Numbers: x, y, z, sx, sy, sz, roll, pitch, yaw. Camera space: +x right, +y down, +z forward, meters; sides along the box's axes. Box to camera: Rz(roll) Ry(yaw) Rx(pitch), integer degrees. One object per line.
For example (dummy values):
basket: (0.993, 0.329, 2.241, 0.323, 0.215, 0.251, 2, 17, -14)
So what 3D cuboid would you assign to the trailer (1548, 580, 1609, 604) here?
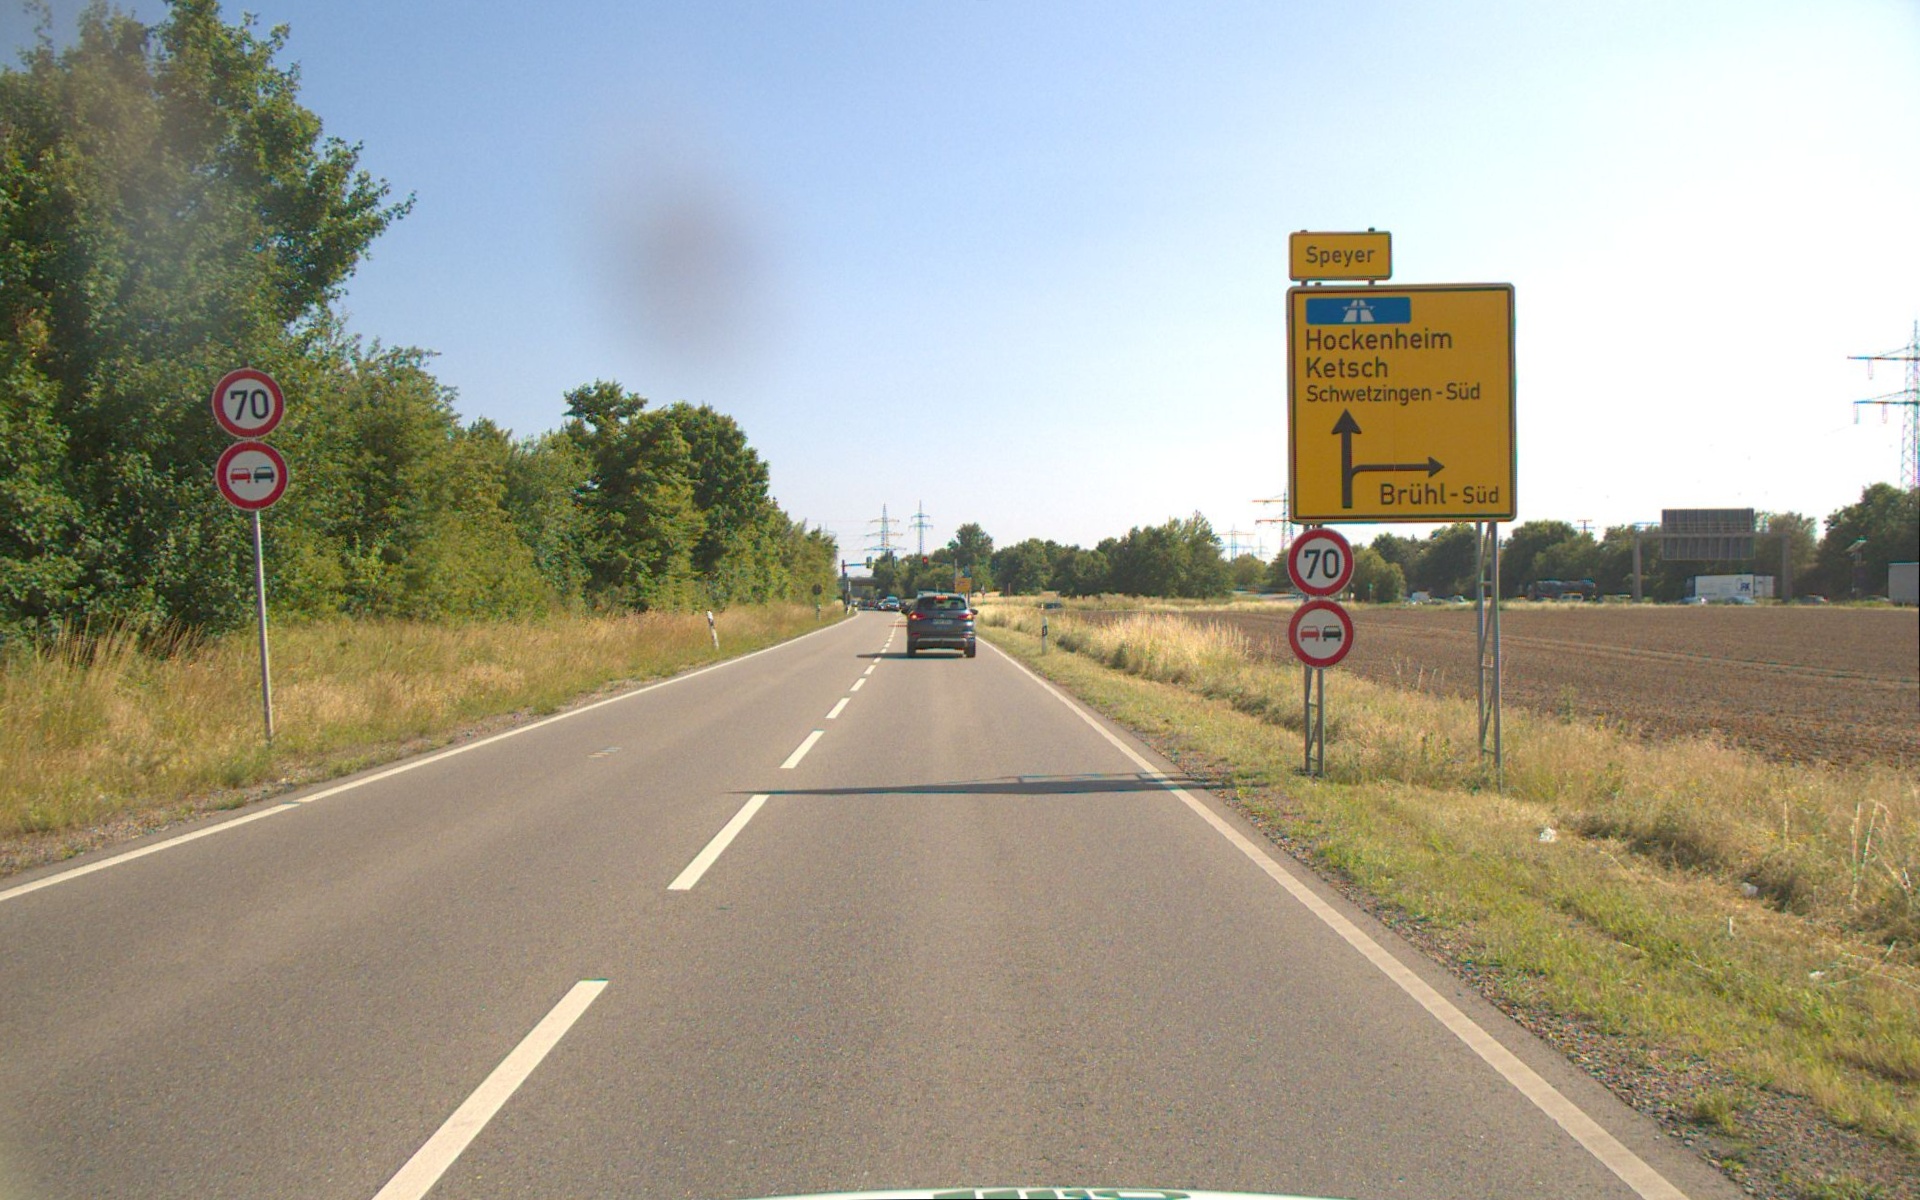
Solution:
trailer: (90.323, -1.160, 241.868, 3.219, 3.324, 13.445, 0, 0, -3)

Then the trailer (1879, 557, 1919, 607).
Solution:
trailer: (77.699, -1.425, 129.681, 3.041, 3.916, 13.710, 0, 0, -3)

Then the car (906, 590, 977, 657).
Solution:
car: (-0.535, 0.565, 43.124, 1.750, 1.657, 3.998, 0, 0, -2)

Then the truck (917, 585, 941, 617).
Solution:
truck: (-3.098, 0.153, 165.591, 2.290, 3.120, 5.808, 0, -1, -1)

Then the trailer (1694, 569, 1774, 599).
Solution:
trailer: (93.234, -1.857, 199.608, 3.219, 3.324, 12.448, -1, 0, -3)

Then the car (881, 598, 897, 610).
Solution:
car: (-9.331, 0.480, 217.350, 1.781, 1.567, 3.995, -1, 0, -6)

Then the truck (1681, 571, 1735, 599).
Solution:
truck: (92.896, -1.839, 205.538, 3.219, 3.324, 6.975, -1, 0, -3)
